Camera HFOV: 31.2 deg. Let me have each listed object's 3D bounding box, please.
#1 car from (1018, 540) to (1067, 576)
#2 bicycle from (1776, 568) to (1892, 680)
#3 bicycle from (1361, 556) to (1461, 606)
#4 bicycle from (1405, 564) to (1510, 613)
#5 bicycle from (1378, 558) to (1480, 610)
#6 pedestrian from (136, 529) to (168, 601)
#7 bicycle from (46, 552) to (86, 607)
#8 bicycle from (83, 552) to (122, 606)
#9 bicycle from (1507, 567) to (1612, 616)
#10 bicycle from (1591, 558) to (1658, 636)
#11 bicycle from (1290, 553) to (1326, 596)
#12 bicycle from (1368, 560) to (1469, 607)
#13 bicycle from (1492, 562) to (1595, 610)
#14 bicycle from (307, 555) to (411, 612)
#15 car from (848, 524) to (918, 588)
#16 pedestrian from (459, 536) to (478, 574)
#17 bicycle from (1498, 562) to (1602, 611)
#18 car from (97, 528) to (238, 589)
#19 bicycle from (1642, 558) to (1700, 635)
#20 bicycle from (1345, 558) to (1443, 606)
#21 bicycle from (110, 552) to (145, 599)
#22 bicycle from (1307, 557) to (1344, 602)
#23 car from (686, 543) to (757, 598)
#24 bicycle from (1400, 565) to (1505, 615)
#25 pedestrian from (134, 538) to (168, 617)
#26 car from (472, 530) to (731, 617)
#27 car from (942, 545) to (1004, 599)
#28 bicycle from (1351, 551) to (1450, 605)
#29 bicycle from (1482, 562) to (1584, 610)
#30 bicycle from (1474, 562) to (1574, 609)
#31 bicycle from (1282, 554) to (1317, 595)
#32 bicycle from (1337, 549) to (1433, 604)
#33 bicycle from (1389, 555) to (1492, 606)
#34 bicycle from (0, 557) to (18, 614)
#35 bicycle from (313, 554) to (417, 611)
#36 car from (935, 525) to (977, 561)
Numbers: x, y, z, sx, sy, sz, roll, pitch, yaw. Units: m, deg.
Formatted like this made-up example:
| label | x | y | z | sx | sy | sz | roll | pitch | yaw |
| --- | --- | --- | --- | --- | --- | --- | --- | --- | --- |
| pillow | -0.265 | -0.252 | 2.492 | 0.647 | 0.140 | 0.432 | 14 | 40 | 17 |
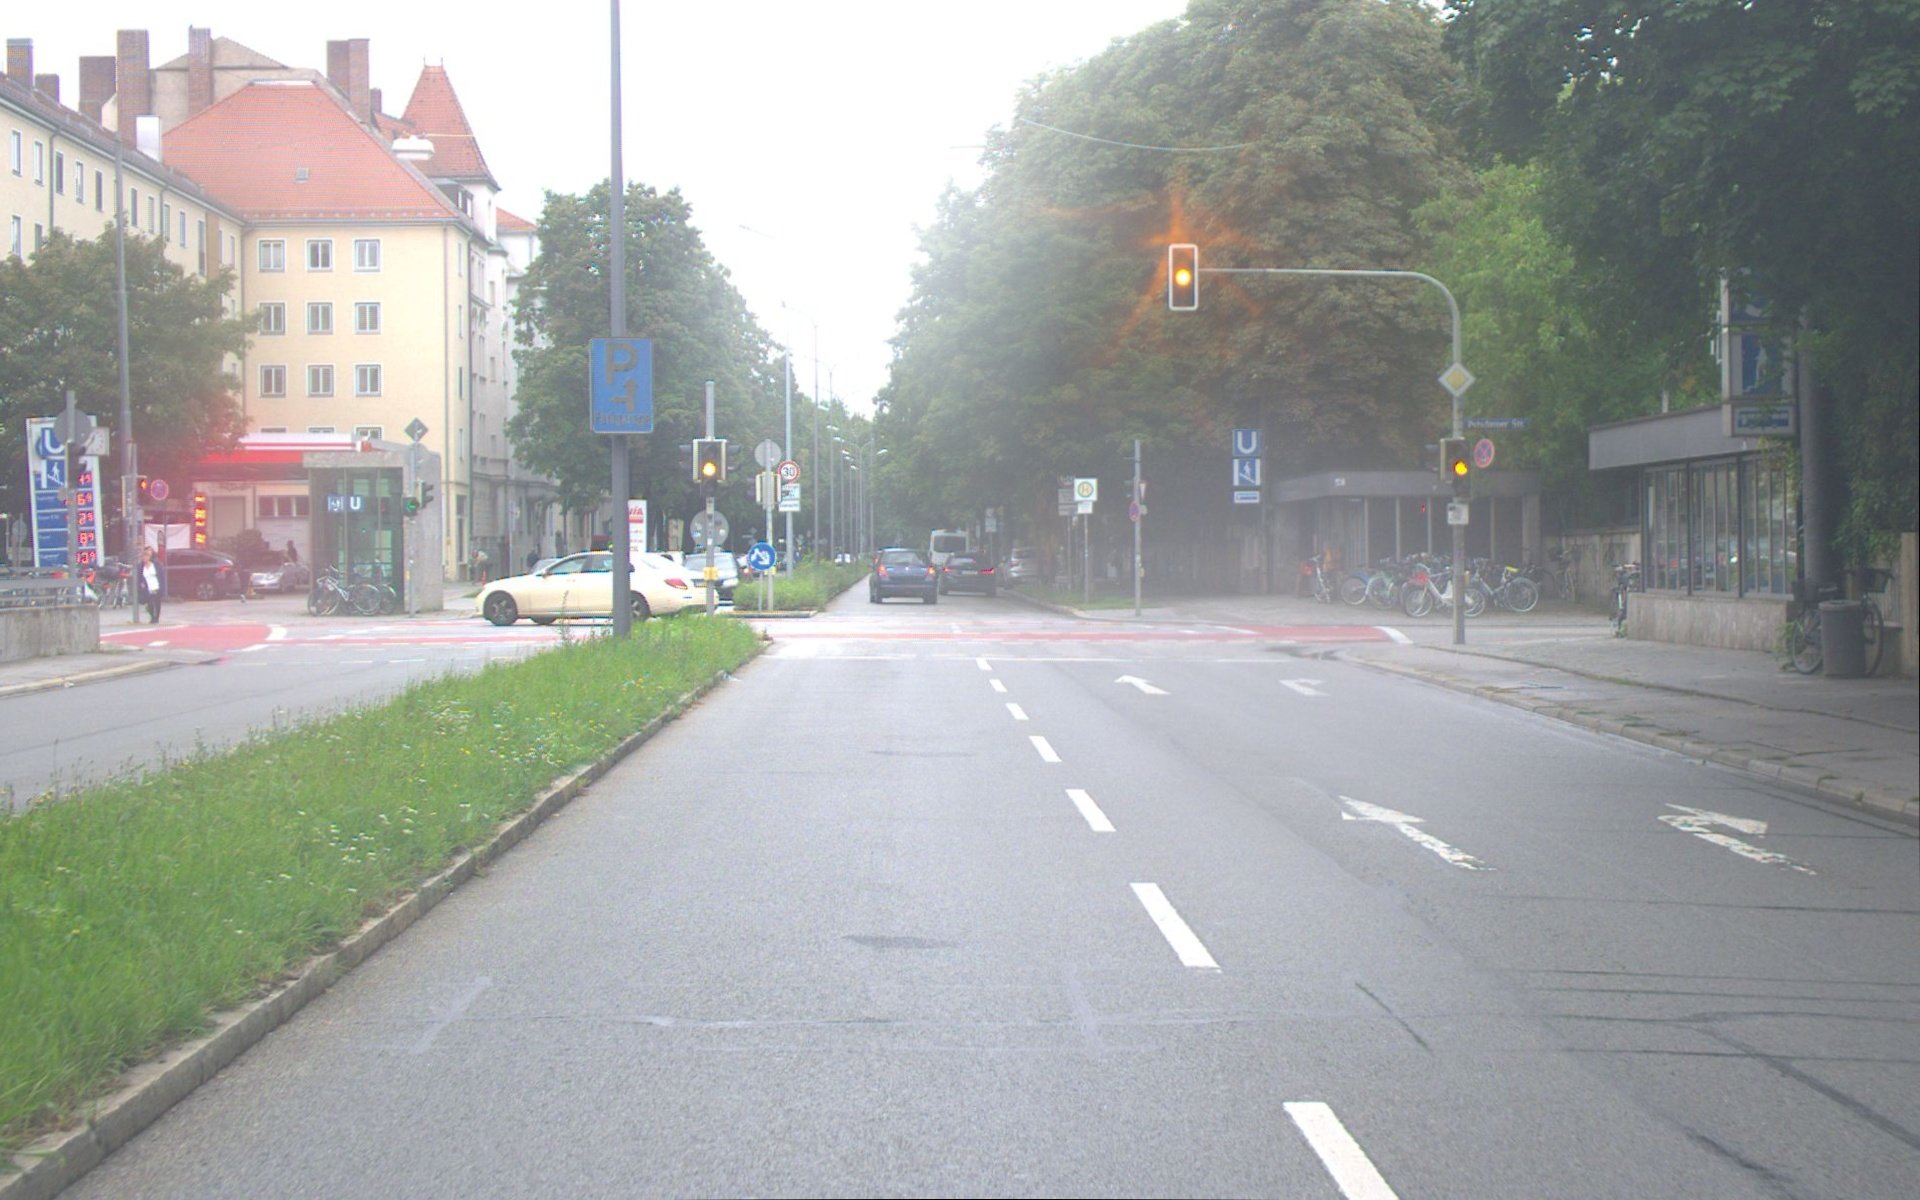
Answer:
| label | x | y | z | sx | sy | sz | roll | pitch | yaw |
| --- | --- | --- | --- | --- | --- | --- | --- | --- | --- |
| car | 3.208 | -1.640 | 133.930 | 1.743 | 1.358 | 3.807 | 0 | 1 | -1 |
| bicycle | 8.912 | 0.231 | 35.116 | 0.622 | 1.087 | 2.026 | 0 | 1 | -1 |
| bicycle | 9.794 | -0.415 | 74.615 | 2.143 | 1.082 | 0.603 | 0 | 1 | 8 |
| bicycle | 10.386 | -0.233 | 71.805 | 2.143 | 1.011 | 0.634 | 0 | 1 | 8 |
| bicycle | 10.000 | -0.349 | 73.261 | 2.143 | 1.097 | 0.603 | 0 | 1 | 8 |
| pedestrian | -19.247 | -0.839 | 81.896 | 0.589 | 1.689 | 0.577 | -1 | 1 | -31 |
| bicycle | -20.699 | -0.482 | 79.604 | 0.608 | 1.231 | 2.188 | 0 | 1 | -7 |
| bicycle | -20.054 | -0.495 | 80.436 | 0.608 | 1.231 | 2.188 | 0 | 1 | -7 |
| bicycle | 12.573 | -0.181 | 72.122 | 2.143 | 1.011 | 0.634 | 0 | 1 | 8 |
| bicycle | 9.706 | -0.046 | 50.266 | 0.599 | 1.117 | 1.890 | 0 | 0 | -1 |
| bicycle | 8.401 | -0.615 | 82.982 | 0.556 | 1.011 | 2.016 | 0 | 1 | -3 |
| bicycle | 9.859 | -0.352 | 73.975 | 2.143 | 1.011 | 0.603 | 0 | 1 | 8 |
| bicycle | 12.500 | -0.294 | 73.685 | 2.143 | 1.011 | 0.634 | 0 | 1 | 8 |
| bicycle | -13.802 | -0.383 | 78.990 | 2.271 | 1.300 | 0.704 | 0 | 1 | 0 |
| car | -2.104 | -1.211 | 93.714 | 1.857 | 1.678 | 4.000 | 0 | 1 | -1 |
| pedestrian | -21.155 | -1.946 | 147.879 | 0.696 | 1.632 | 0.738 | 0 | 1 | -1 |
| bicycle | 12.508 | -0.289 | 72.917 | 2.143 | 1.011 | 0.634 | 0 | 1 | 8 |
| car | -24.413 | -1.288 | 105.982 | 3.986 | 1.831 | 1.881 | 0 | 1 | -3 |
| bicycle | 10.394 | -0.052 | 50.289 | 0.469 | 1.117 | 1.735 | 0 | 0 | -1 |
| bicycle | 9.619 | -0.404 | 76.142 | 2.143 | 1.058 | 0.603 | 0 | 1 | 8 |
| bicycle | -20.470 | -0.606 | 84.579 | 0.608 | 1.141 | 1.966 | 0 | 1 | -7 |
| bicycle | 8.523 | -0.481 | 80.256 | 0.556 | 1.011 | 2.016 | 0 | 1 | -3 |
| car | -6.622 | -0.834 | 95.769 | 1.759 | 1.488 | 4.000 | 0 | 1 | -1 |
| bicycle | 10.197 | -0.213 | 71.180 | 2.143 | 1.011 | 0.603 | 0 | 1 | 8 |
| pedestrian | -17.274 | -0.484 | 73.400 | 0.534 | 1.689 | 0.577 | 0 | 1 | 8 |
| car | -7.025 | -0.532 | 67.253 | 4.771 | 1.641 | 1.783 | 0 | 1 | 23 |
| car | 0.398 | -0.903 | 112.288 | 1.922 | 1.678 | 4.000 | 1 | 0 | -1 |
| bicycle | 9.662 | -0.479 | 75.440 | 2.143 | 1.174 | 0.603 | 0 | 1 | 8 |
| bicycle | 12.405 | -0.305 | 74.478 | 2.143 | 1.011 | 0.634 | 0 | 1 | 8 |
| bicycle | 12.337 | -0.315 | 75.263 | 2.143 | 1.011 | 0.634 | 0 | 1 | 8 |
| bicycle | 8.517 | -0.645 | 86.290 | 0.556 | 1.011 | 2.016 | 0 | 1 | -3 |
| bicycle | 9.621 | -0.532 | 77.741 | 2.143 | 1.214 | 0.603 | 0 | 1 | 8 |
| bicycle | 10.166 | -0.423 | 72.731 | 2.143 | 1.067 | 0.603 | 0 | 1 | 8 |
| bicycle | -22.263 | -0.355 | 75.846 | 2.703 | 1.246 | 0.794 | 1 | 0 | -31 |
| bicycle | -13.791 | -0.406 | 79.770 | 2.285 | 1.300 | 0.694 | 0 | 1 | 0 |
| car | -0.209 | -2.835 | 169.677 | 1.993 | 1.750 | 4.000 | 0 | 1 | -1 |
